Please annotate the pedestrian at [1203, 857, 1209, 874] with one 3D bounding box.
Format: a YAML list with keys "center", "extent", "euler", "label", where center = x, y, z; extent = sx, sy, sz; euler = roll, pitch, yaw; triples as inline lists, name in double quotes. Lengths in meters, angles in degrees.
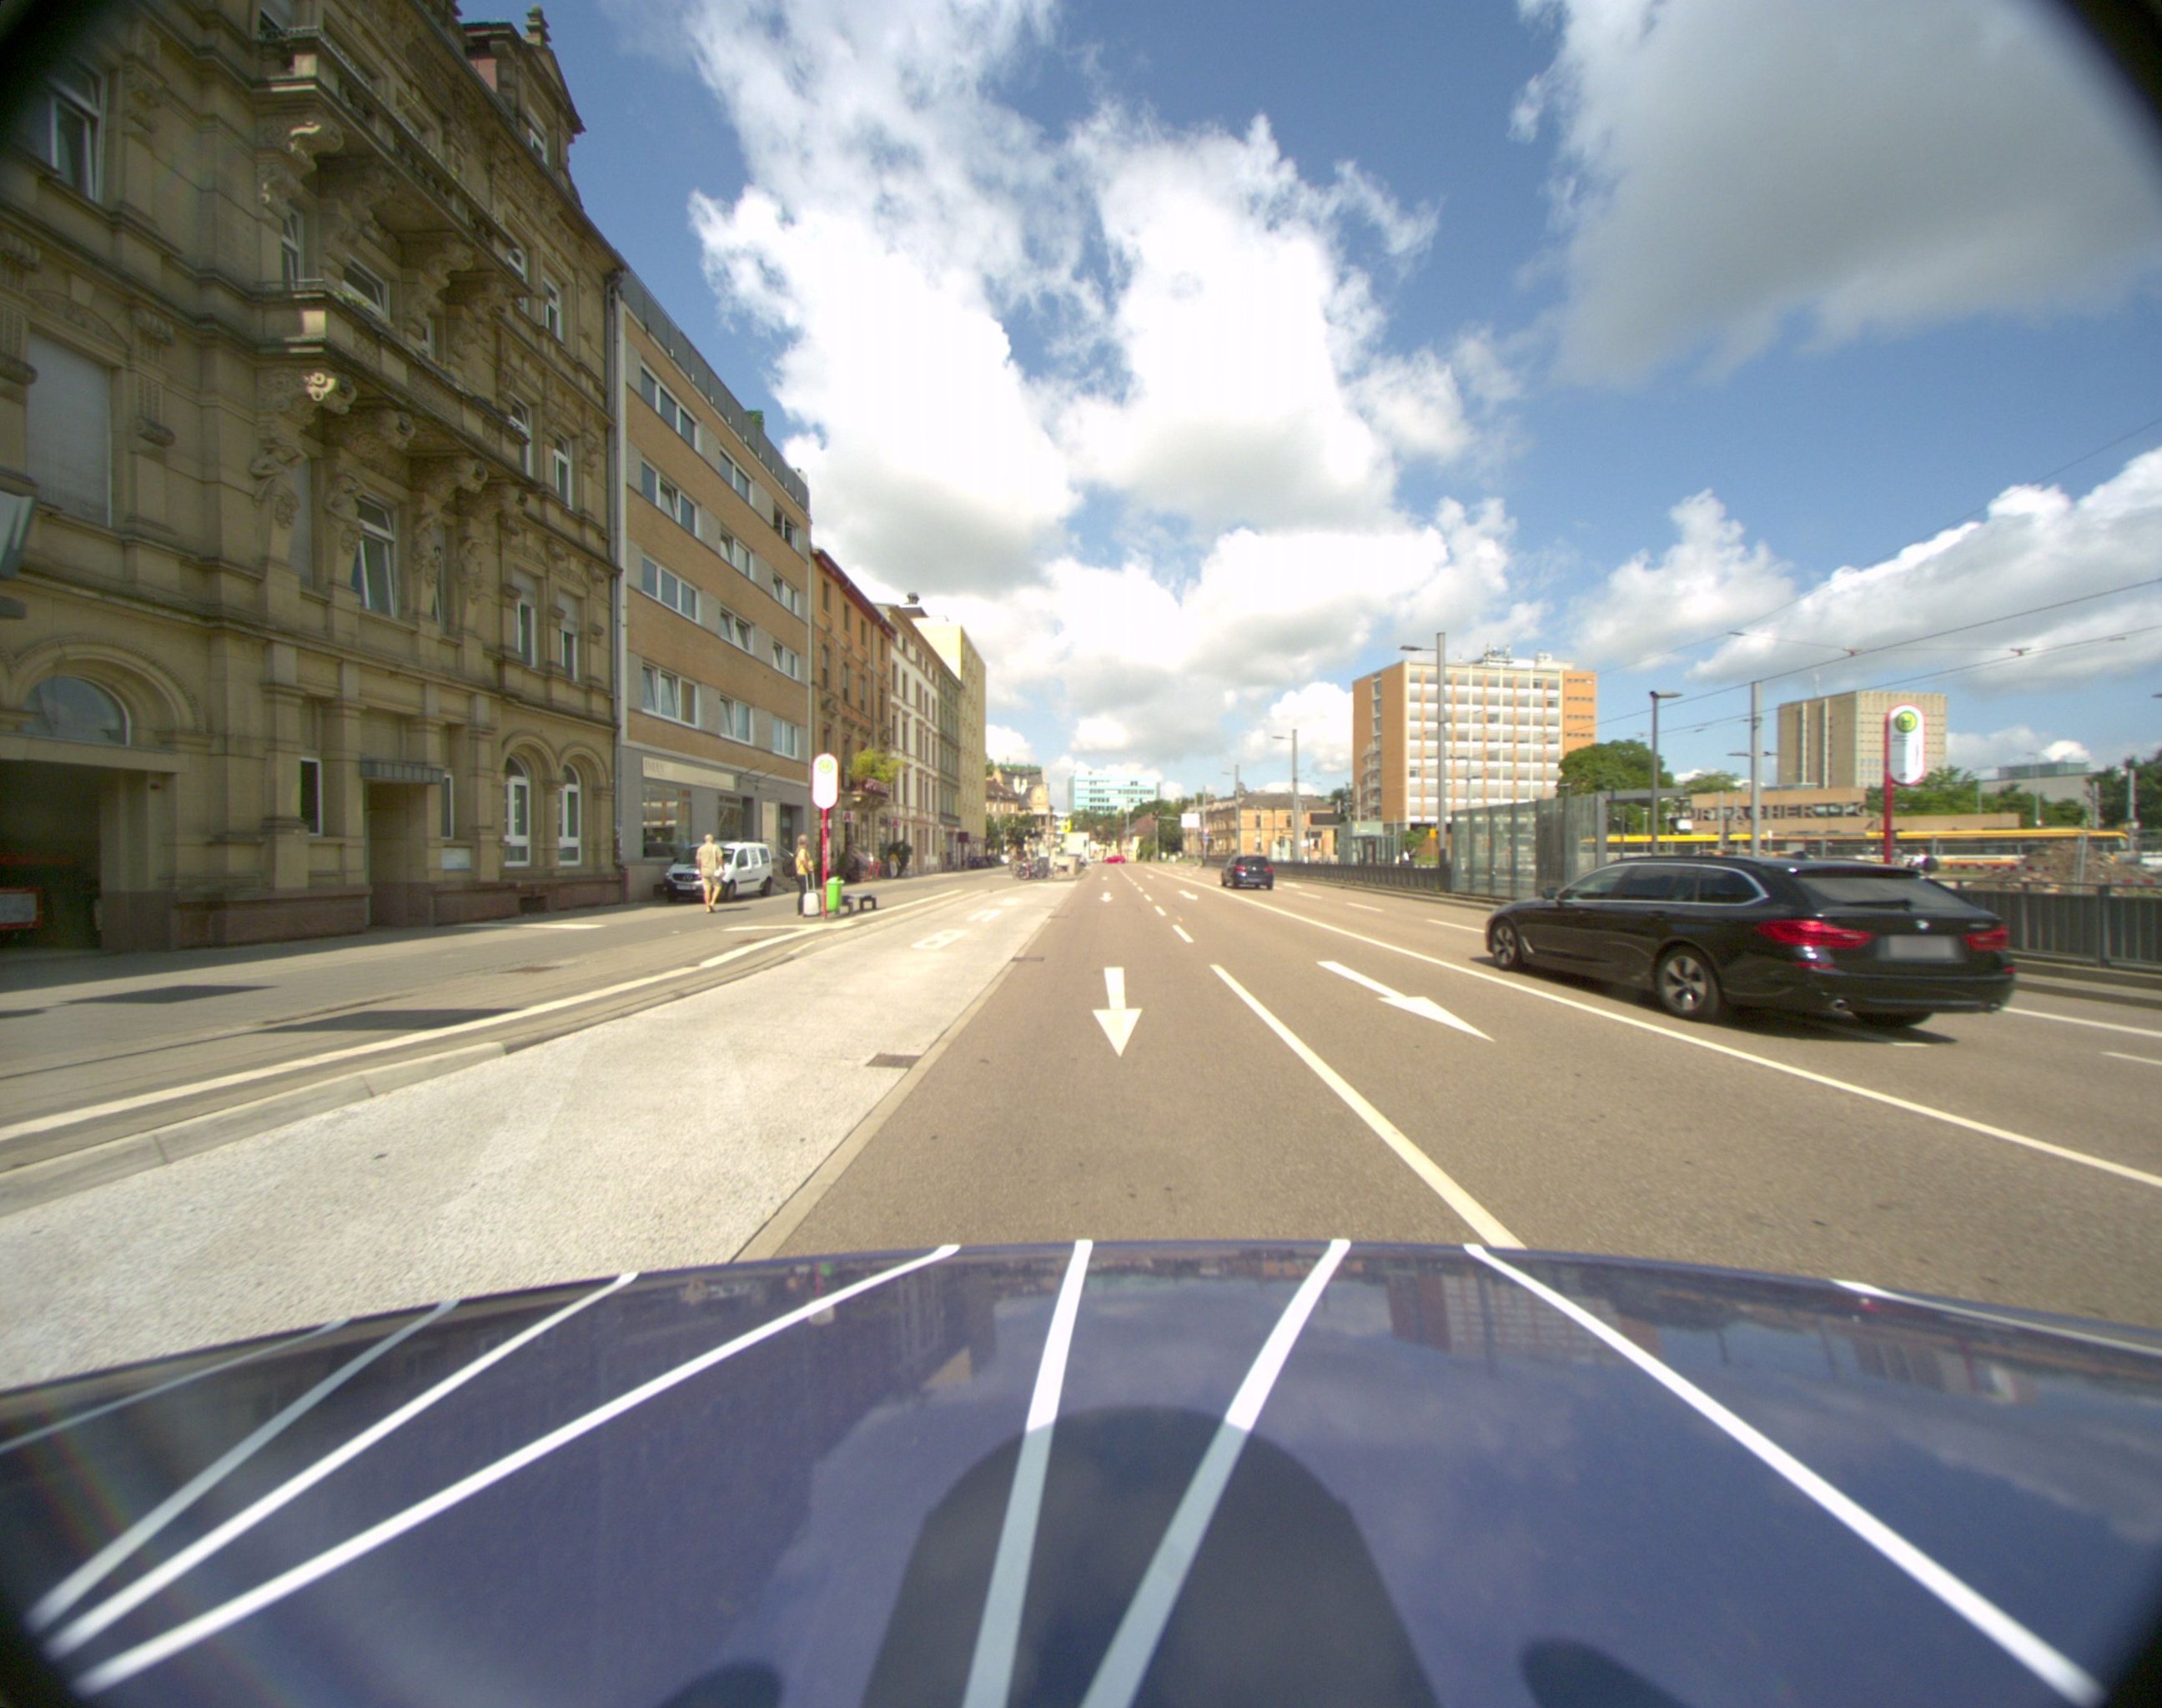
- center: [14.319, 1.308, 87.169]
  extent: [0.503, 2.002, 0.515]
  euler: [0, 0, -10]
  label: "pedestrian"

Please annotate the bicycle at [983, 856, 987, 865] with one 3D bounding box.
- center: [-9.852, 0.635, 77.933]
  extent: [0.293, 0.917, 1.464]
  euler: [0, -1, -1]
  label: "bicycle"

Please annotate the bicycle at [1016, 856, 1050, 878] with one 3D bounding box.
- center: [-2.807, 0.754, 44.198]
  extent: [1.930, 1.230, 0.441]
  euler: [0, -2, -9]
  label: "bicycle"

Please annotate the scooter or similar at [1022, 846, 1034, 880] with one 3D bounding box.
- center: [-2.849, 0.461, 40.862]
  extent: [0.398, 1.776, 1.538]
  euler: [0, 0, 6]
  label: "scooter or similar"

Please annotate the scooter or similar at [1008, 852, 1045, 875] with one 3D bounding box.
- center: [-3.575, 0.634, 49.967]
  extent: [2.329, 1.536, 0.698]
  euler: [-1, -2, 7]
  label: "scooter or similar"

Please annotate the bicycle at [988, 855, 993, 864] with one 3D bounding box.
- center: [-9.558, 0.586, 80.016]
  extent: [0.293, 0.917, 1.464]
  euler: [0, 0, 2]
  label: "bicycle"

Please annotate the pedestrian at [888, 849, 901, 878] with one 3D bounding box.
- center: [-10.822, 0.550, 44.035]
  extent: [0.580, 1.687, 0.612]
  euler: [0, -2, 2]
  label: "pedestrian"

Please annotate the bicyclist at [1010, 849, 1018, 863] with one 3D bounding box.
- center: [-6.585, 0.212, 74.757]
  extent: [0.655, 1.429, 0.743]
  euler: [0, 1, 2]
  label: "bicyclist"

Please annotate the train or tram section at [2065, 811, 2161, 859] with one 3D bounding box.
- center: [83.434, -1.503, 57.476]
  extent: [3.332, 3.459, 10.579]
  euler: [1, -3, -44]
  label: "train or tram section"

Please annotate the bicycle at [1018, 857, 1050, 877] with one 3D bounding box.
- center: [-2.919, 0.818, 47.111]
  extent: [1.928, 1.230, 0.441]
  euler: [0, -2, 4]
  label: "bicycle"

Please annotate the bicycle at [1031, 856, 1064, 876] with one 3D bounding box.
- center: [-2.031, 0.724, 45.482]
  extent: [1.931, 1.230, 0.441]
  euler: [0, -2, -10]
  label: "bicycle"

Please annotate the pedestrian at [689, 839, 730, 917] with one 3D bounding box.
- center: [-8.930, 0.565, 18.299]
  extent: [0.665, 1.826, 0.694]
  euler: [0, 1, -4]
  label: "pedestrian"

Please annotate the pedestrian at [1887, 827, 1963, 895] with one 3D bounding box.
- center: [25.454, 0.201, 22.938]
  extent: [1.068, 2.002, 1.051]
  euler: [0, 1, 5]
  label: "pedestrian"

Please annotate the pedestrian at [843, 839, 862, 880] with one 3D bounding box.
- center: [-11.628, 0.297, 38.702]
  extent: [0.723, 2.086, 0.786]
  euler: [0, -2, 2]
  label: "pedestrian"

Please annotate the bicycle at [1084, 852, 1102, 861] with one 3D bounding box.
- center: [1.404, 0.291, 88.690]
  extent: [2.097, 1.099, 0.545]
  euler: [0, -2, 6]
  label: "bicycle"

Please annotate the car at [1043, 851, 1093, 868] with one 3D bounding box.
- center: [-1.210, 0.487, 73.190]
  extent: [4.605, 1.637, 2.056]
  euler: [0, 1, -41]
  label: "car"

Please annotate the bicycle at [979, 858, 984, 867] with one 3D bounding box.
- center: [-9.911, 0.819, 75.411]
  extent: [0.293, 0.917, 1.464]
  euler: [0, -1, -1]
  label: "bicycle"

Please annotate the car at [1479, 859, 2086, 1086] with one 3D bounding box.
- center: [6.129, 0.849, 7.618]
  extent: [1.822, 1.543, 4.559]
  euler: [0, 0, -1]
  label: "car"

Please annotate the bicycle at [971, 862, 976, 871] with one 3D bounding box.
- center: [-10.678, 1.261, 75.624]
  extent: [0.293, 0.917, 1.464]
  euler: [0, -1, -1]
  label: "bicycle"

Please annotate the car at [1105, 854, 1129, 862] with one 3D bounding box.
- center: [6.511, 0.712, 136.427]
  extent: [4.057, 1.458, 1.649]
  euler: [-1, -2, 16]
  label: "car"

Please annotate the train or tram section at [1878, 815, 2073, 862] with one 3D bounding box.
- center: [75.989, -1.199, 65.089]
  extent: [3.332, 3.459, 10.579]
  euler: [1, -3, -44]
  label: "train or tram section"

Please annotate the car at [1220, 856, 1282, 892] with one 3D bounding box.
- center: [7.176, 0.811, 32.351]
  extent: [1.920, 1.409, 3.741]
  euler: [0, 0, 2]
  label: "car"

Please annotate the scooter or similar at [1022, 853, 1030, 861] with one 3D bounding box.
- center: [-8.145, 0.453, 113.019]
  extent: [1.067, 1.189, 0.381]
  euler: [1, -2, -35]
  label: "scooter or similar"

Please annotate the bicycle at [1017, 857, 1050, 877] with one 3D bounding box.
- center: [-2.916, 0.798, 46.560]
  extent: [1.928, 1.230, 0.441]
  euler: [0, -2, 4]
  label: "bicycle"

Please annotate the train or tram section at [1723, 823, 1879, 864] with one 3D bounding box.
- center: [68.574, -0.873, 72.657]
  extent: [3.332, 3.459, 10.579]
  euler: [1, -3, -44]
  label: "train or tram section"

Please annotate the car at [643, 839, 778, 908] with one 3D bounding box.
- center: [-11.001, 0.496, 23.033]
  extent: [1.999, 1.851, 4.750]
  euler: [0, 1, -4]
  label: "car"

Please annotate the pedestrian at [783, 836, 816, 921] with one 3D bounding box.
- center: [-6.436, 0.554, 17.378]
  extent: [0.665, 1.892, 0.693]
  euler: [0, 1, -17]
  label: "pedestrian"

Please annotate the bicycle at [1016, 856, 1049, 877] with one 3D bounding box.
- center: [-2.859, 0.761, 44.778]
  extent: [1.930, 1.230, 0.441]
  euler: [0, -2, -9]
  label: "bicycle"

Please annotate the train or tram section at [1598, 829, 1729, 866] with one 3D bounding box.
- center: [61.233, -0.568, 80.138]
  extent: [3.332, 3.459, 10.579]
  euler: [1, -3, -44]
  label: "train or tram section"

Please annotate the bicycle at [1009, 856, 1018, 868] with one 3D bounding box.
- center: [-6.618, 0.791, 74.577]
  extent: [0.663, 1.114, 2.332]
  euler: [0, 0, 2]
  label: "bicycle"

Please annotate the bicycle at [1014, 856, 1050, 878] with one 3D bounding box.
- center: [-2.731, 0.737, 42.513]
  extent: [1.985, 1.230, 0.441]
  euler: [0, -2, -10]
  label: "bicycle"

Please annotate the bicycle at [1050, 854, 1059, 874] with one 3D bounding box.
- center: [-1.690, 0.627, 47.961]
  extent: [0.441, 1.230, 1.930]
  euler: [0, -2, -6]
  label: "bicycle"

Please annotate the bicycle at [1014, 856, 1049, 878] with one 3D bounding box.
- center: [-2.822, 0.719, 43.093]
  extent: [1.930, 1.230, 0.441]
  euler: [0, -2, -6]
  label: "bicycle"

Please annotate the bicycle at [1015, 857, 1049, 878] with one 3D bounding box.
- center: [-2.803, 0.778, 43.639]
  extent: [1.930, 1.230, 0.441]
  euler: [0, -2, -7]
  label: "bicycle"

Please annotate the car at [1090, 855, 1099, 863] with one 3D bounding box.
- center: [2.805, 1.081, 163.066]
  extent: [1.837, 1.586, 4.001]
  euler: [0, -2, 0]
  label: "car"

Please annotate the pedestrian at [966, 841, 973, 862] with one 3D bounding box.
- center: [-10.599, -0.220, 72.154]
  extent: [0.603, 2.001, 0.460]
  euler: [0, -2, 2]
  label: "pedestrian"
